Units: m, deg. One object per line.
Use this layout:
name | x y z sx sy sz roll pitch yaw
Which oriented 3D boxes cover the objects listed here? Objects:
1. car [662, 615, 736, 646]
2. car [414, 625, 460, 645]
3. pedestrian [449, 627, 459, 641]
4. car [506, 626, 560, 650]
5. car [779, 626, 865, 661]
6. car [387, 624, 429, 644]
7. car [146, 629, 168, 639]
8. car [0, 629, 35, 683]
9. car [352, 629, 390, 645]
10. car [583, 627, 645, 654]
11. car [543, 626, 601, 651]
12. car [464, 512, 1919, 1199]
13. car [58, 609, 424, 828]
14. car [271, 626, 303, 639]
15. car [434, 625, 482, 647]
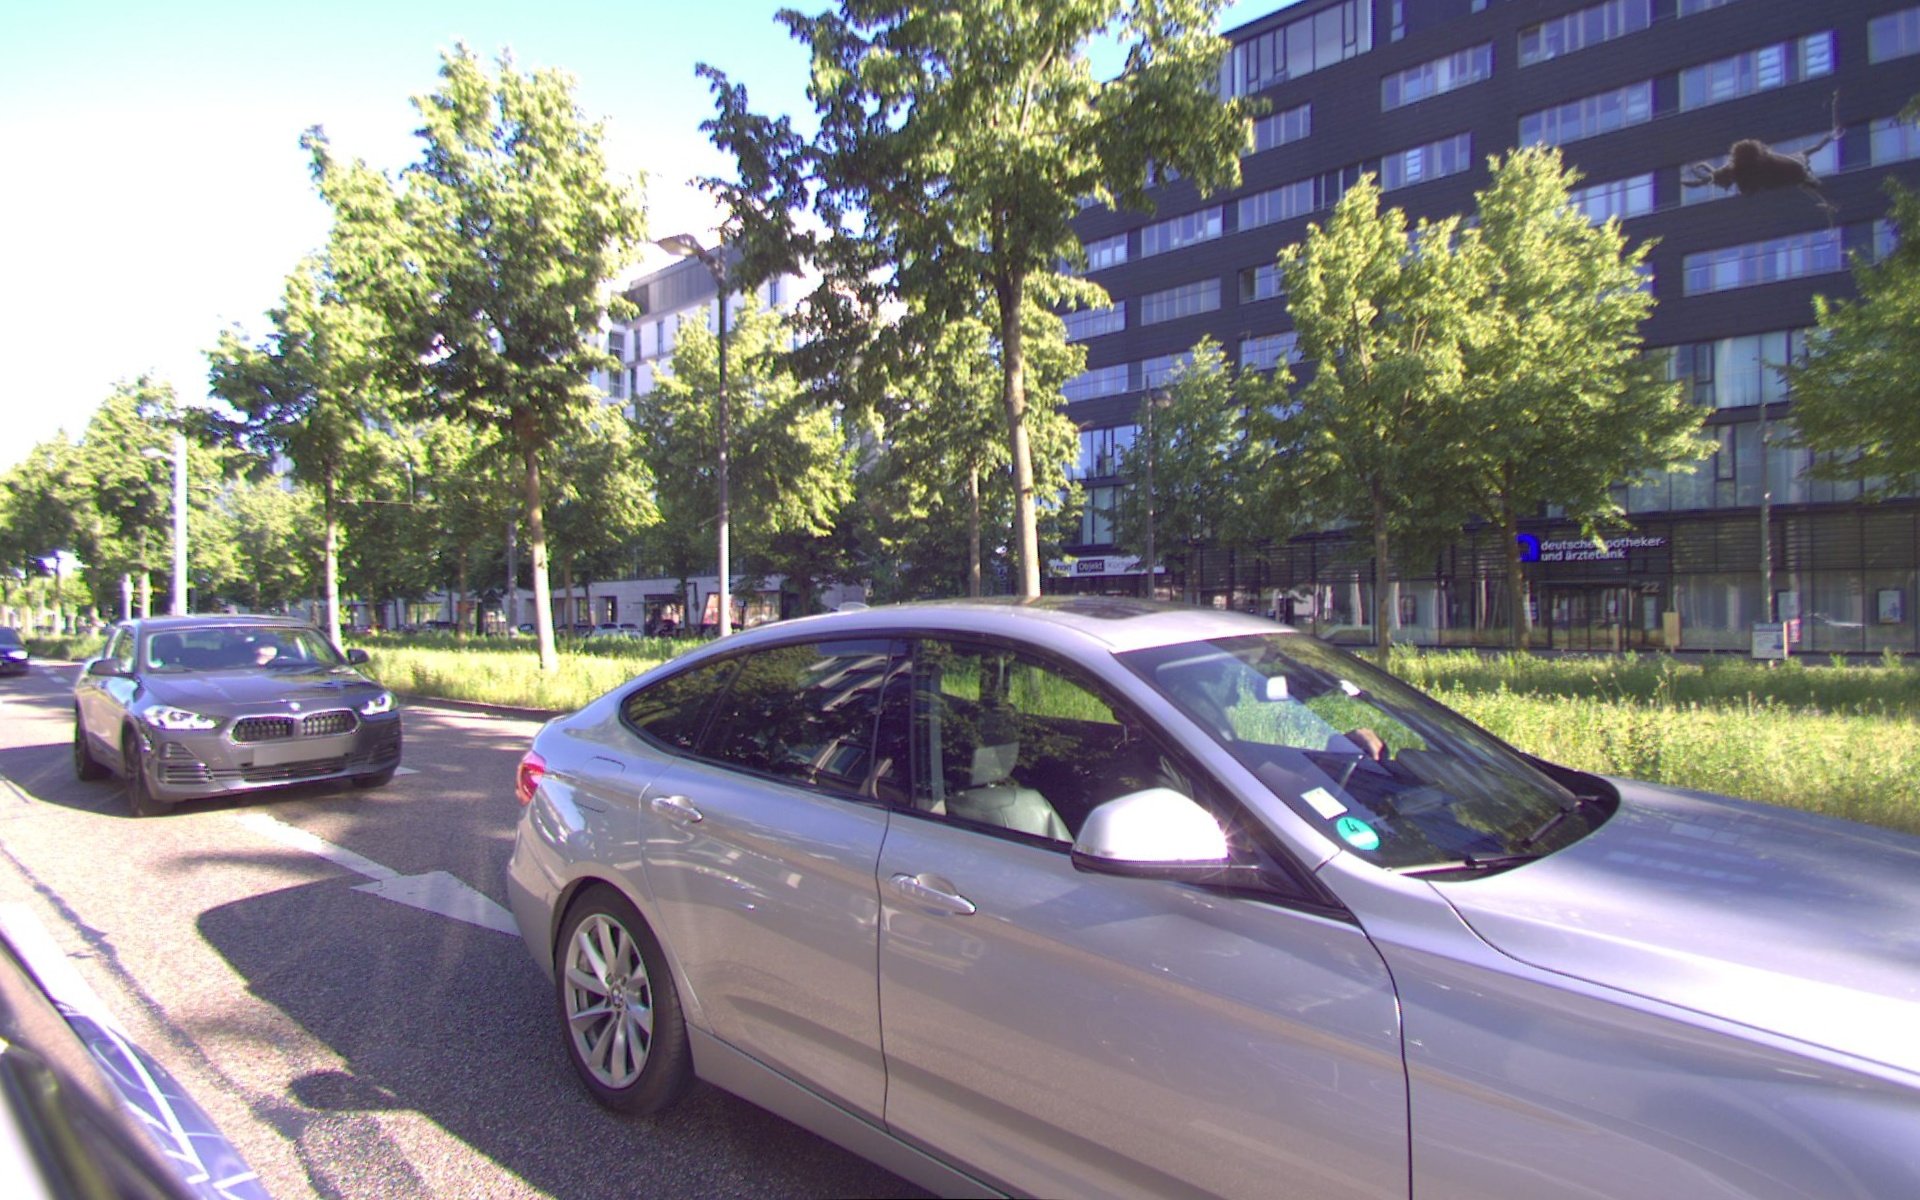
car | -14.440 1.674 55.938 4.182 1.609 1.926 -2 -1 41
car | -42.136 2.802 81.482 4.182 1.609 1.859 -2 -1 41
pedestrian | -46.735 3.138 93.481 0.660 1.349 0.597 -2 -1 41
car | -29.733 2.608 70.469 4.182 1.609 1.859 -2 -1 41
car | -6.771 2.091 49.390 4.182 1.609 1.926 -2 -1 41
car | -46.591 2.872 85.379 4.182 1.609 1.859 -2 -1 41
car | -114.631 4.842 144.497 4.001 1.406 1.971 -2 -2 44
car | -27.677 1.555 28.644 4.344 1.434 1.854 -1 -1 43
car | -52.913 3.297 90.921 4.001 1.406 1.971 -2 -2 44
car | -21.638 2.483 63.197 4.182 1.609 1.859 -2 -1 41
car | -25.704 2.543 67.057 4.182 1.609 1.859 -2 -1 41
car | 0.643 0.683 2.604 4.558 1.495 1.800 -1 -1 40
car | -6.509 0.857 8.997 3.999 1.502 1.836 -1 -1 42
car | -72.536 3.523 109.065 3.998 1.406 1.972 -2 -2 41
car | -38.674 2.755 77.976 4.182 1.609 1.859 -2 -1 41
